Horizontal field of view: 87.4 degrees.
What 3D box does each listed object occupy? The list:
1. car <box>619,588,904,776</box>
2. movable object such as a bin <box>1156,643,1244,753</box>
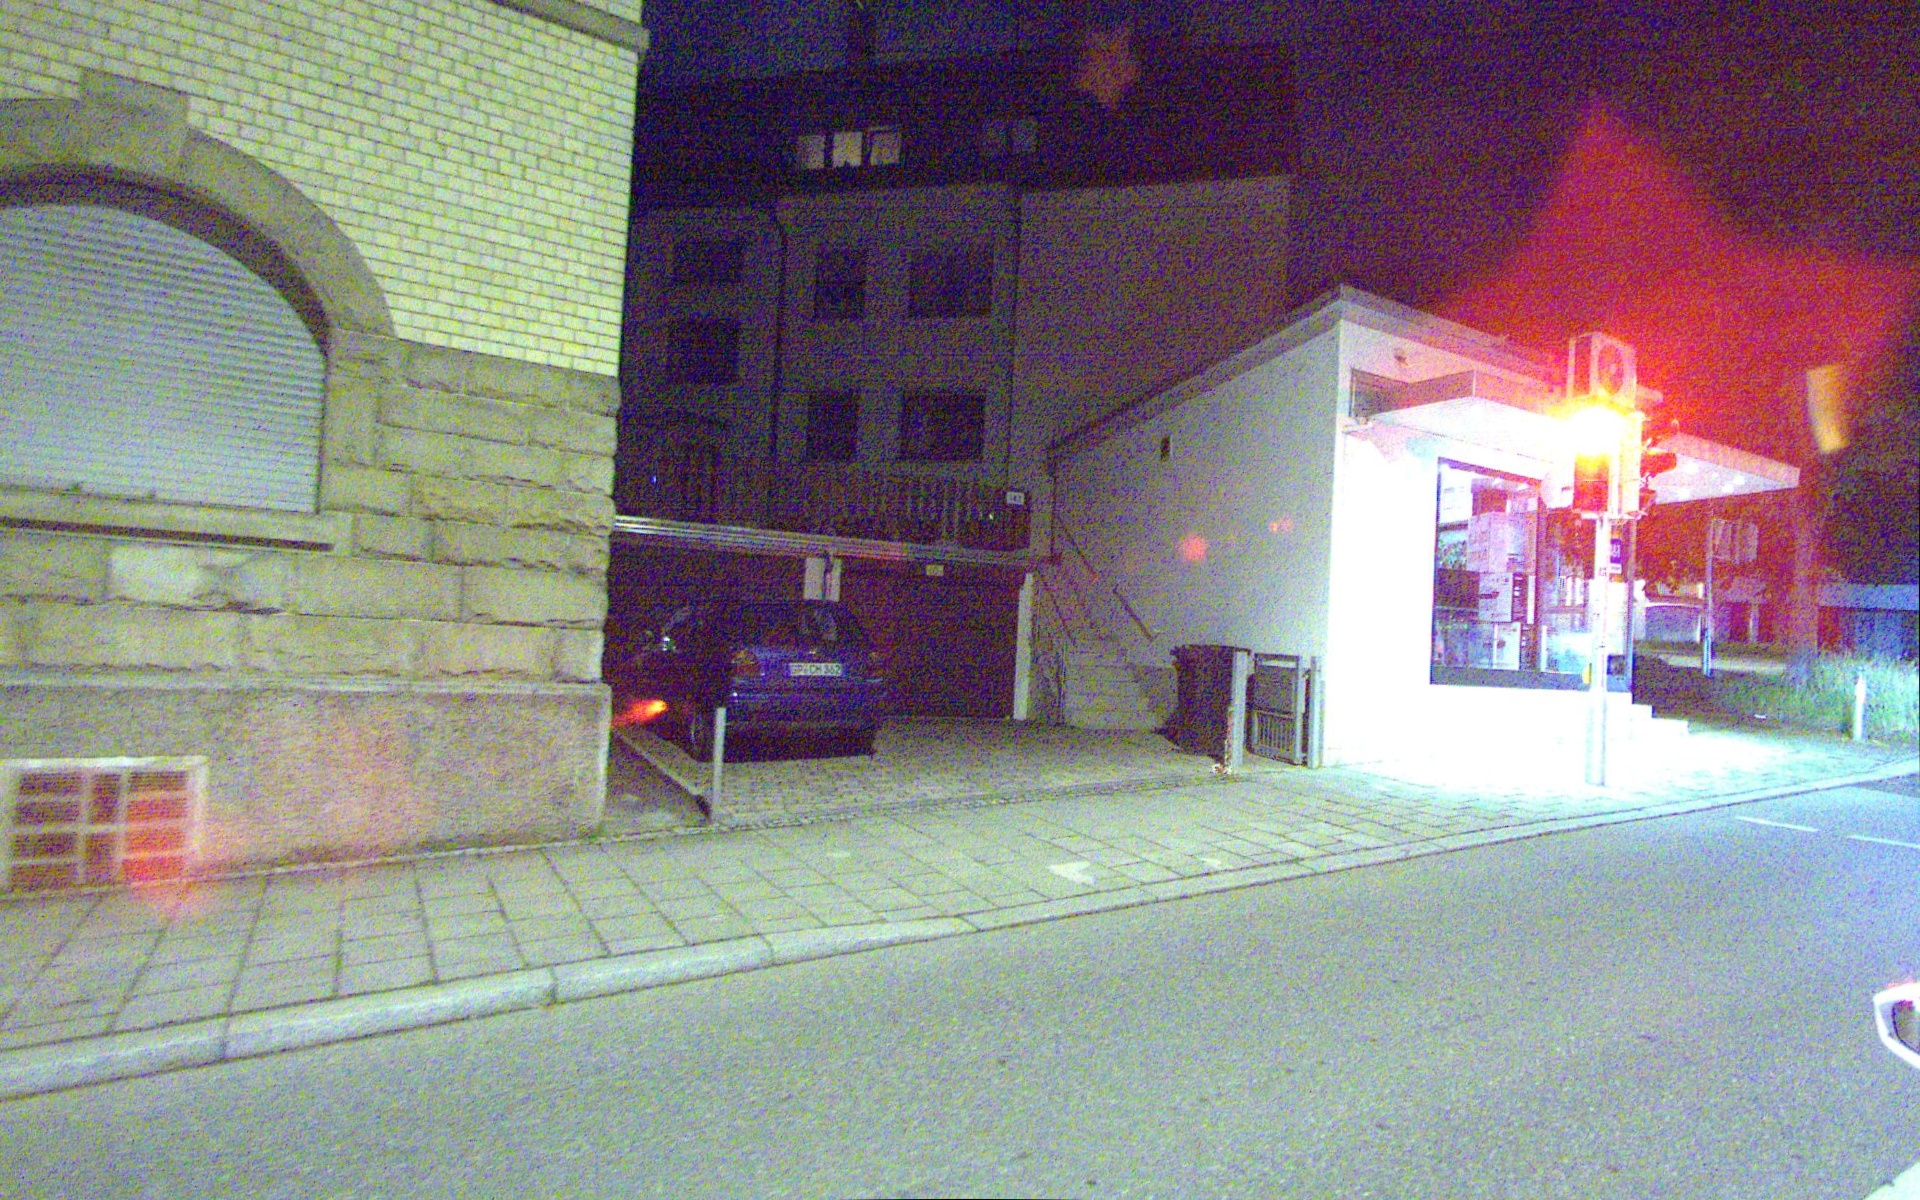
[{"bbox_3d":[-2.060,0.653,9.726,1.655,1.470,3.341,2,0,-31],"label":"car"},{"bbox_3d":[2.457,0.992,10.316,0.643,1.063,0.639,2,0,-12],"label":"movable object such as a bin"}]
